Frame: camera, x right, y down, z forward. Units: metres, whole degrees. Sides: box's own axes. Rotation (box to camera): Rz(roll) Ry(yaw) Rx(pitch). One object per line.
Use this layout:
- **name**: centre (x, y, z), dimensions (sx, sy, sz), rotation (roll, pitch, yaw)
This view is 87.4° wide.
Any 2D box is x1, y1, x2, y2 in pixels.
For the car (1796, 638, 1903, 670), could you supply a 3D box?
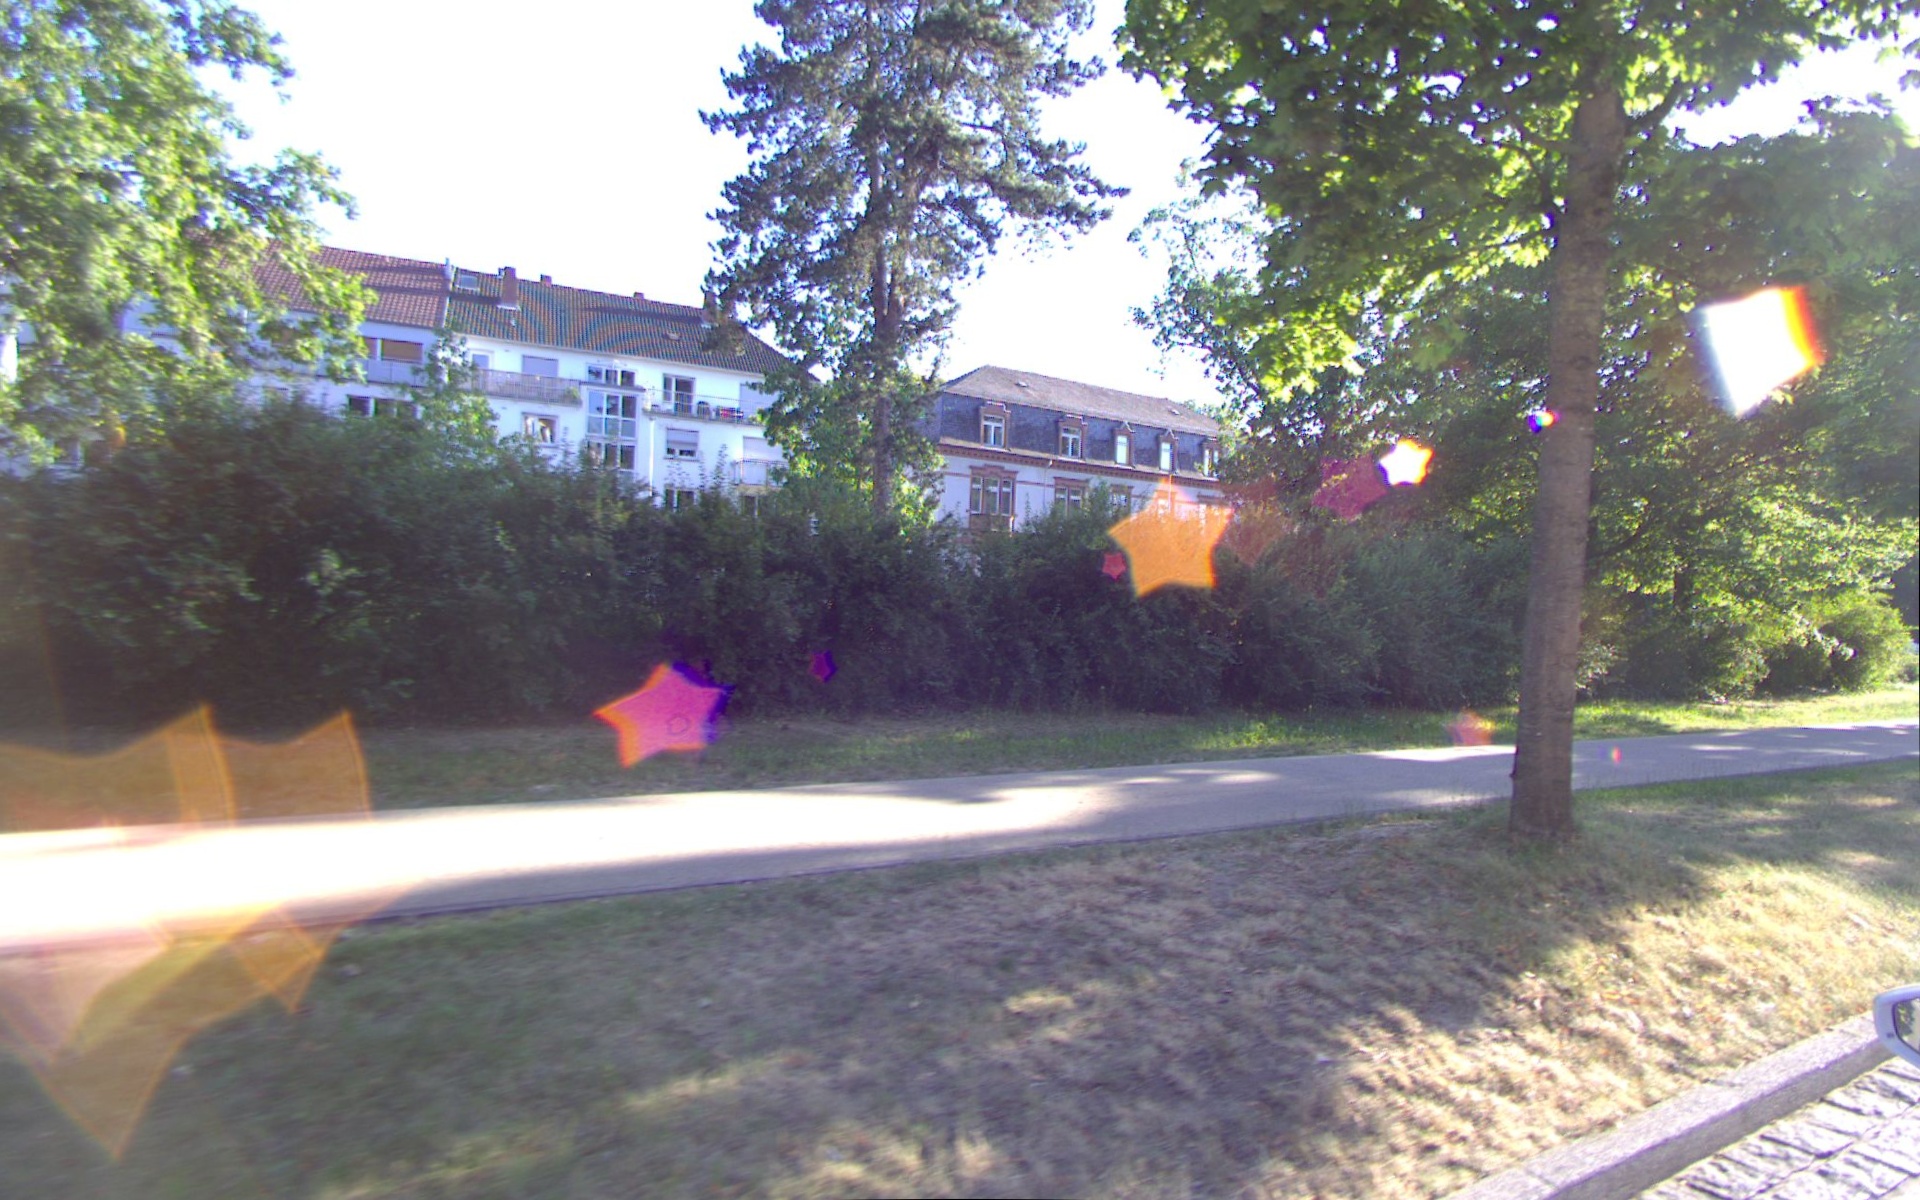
- **car**: centre (47.215, 2.840, 53.424), dimensions (3.929, 1.439, 1.768), rotation (3, 0, 30)

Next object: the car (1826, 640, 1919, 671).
- **car**: centre (52.349, 3.172, 57.427), dimensions (3.927, 1.439, 1.769), rotation (3, 0, 28)
